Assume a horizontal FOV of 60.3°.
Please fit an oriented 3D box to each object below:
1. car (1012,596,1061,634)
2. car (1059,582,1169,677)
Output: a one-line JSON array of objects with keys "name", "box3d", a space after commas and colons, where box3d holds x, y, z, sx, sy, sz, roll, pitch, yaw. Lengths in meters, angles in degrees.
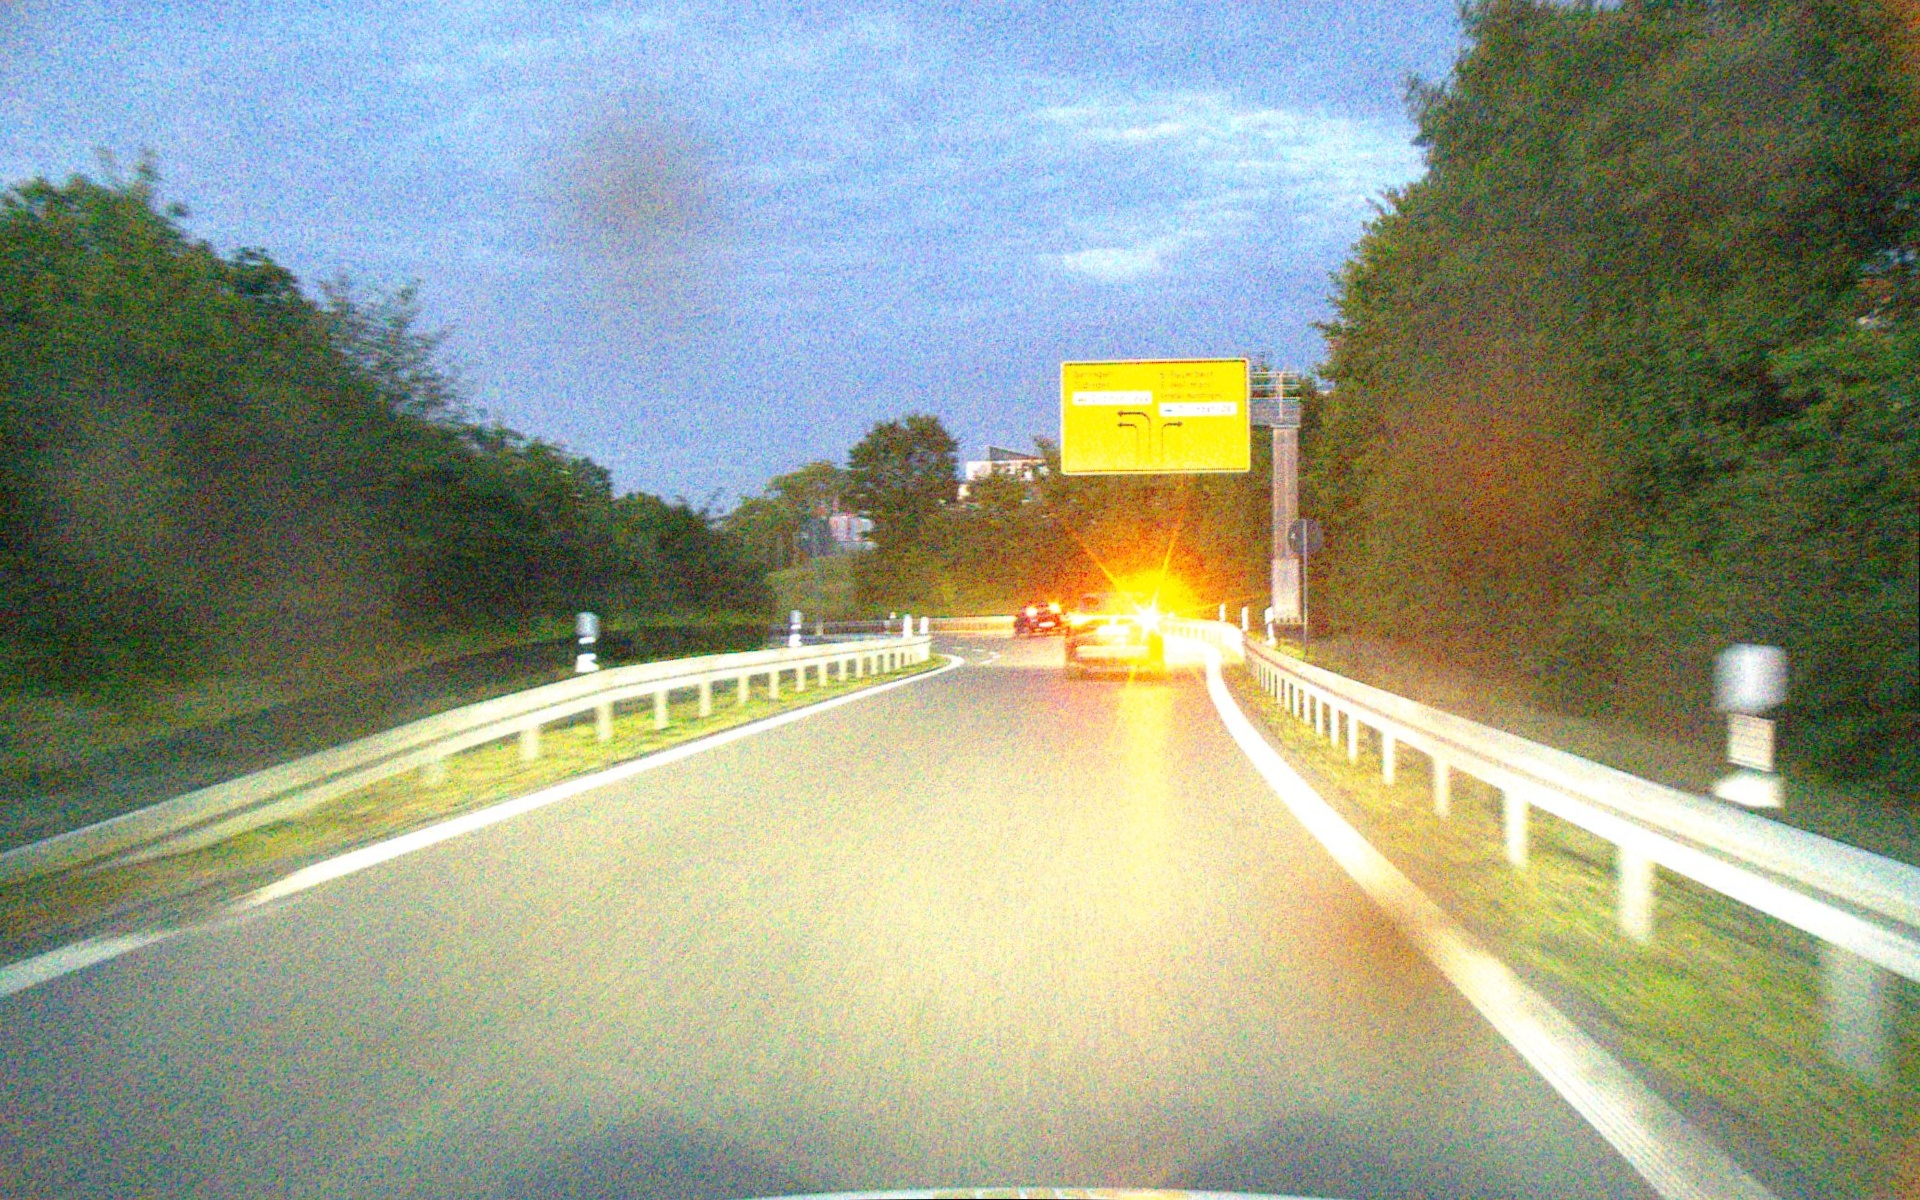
[{"name": "car", "box3d": [3.470, 0.671, 75.875, 1.953, 1.626, 3.999, 2, 0, -1]}, {"name": "car", "box3d": [3.001, 0.535, 31.708, 1.951, 1.688, 4.318, 0, 0, 7]}]
